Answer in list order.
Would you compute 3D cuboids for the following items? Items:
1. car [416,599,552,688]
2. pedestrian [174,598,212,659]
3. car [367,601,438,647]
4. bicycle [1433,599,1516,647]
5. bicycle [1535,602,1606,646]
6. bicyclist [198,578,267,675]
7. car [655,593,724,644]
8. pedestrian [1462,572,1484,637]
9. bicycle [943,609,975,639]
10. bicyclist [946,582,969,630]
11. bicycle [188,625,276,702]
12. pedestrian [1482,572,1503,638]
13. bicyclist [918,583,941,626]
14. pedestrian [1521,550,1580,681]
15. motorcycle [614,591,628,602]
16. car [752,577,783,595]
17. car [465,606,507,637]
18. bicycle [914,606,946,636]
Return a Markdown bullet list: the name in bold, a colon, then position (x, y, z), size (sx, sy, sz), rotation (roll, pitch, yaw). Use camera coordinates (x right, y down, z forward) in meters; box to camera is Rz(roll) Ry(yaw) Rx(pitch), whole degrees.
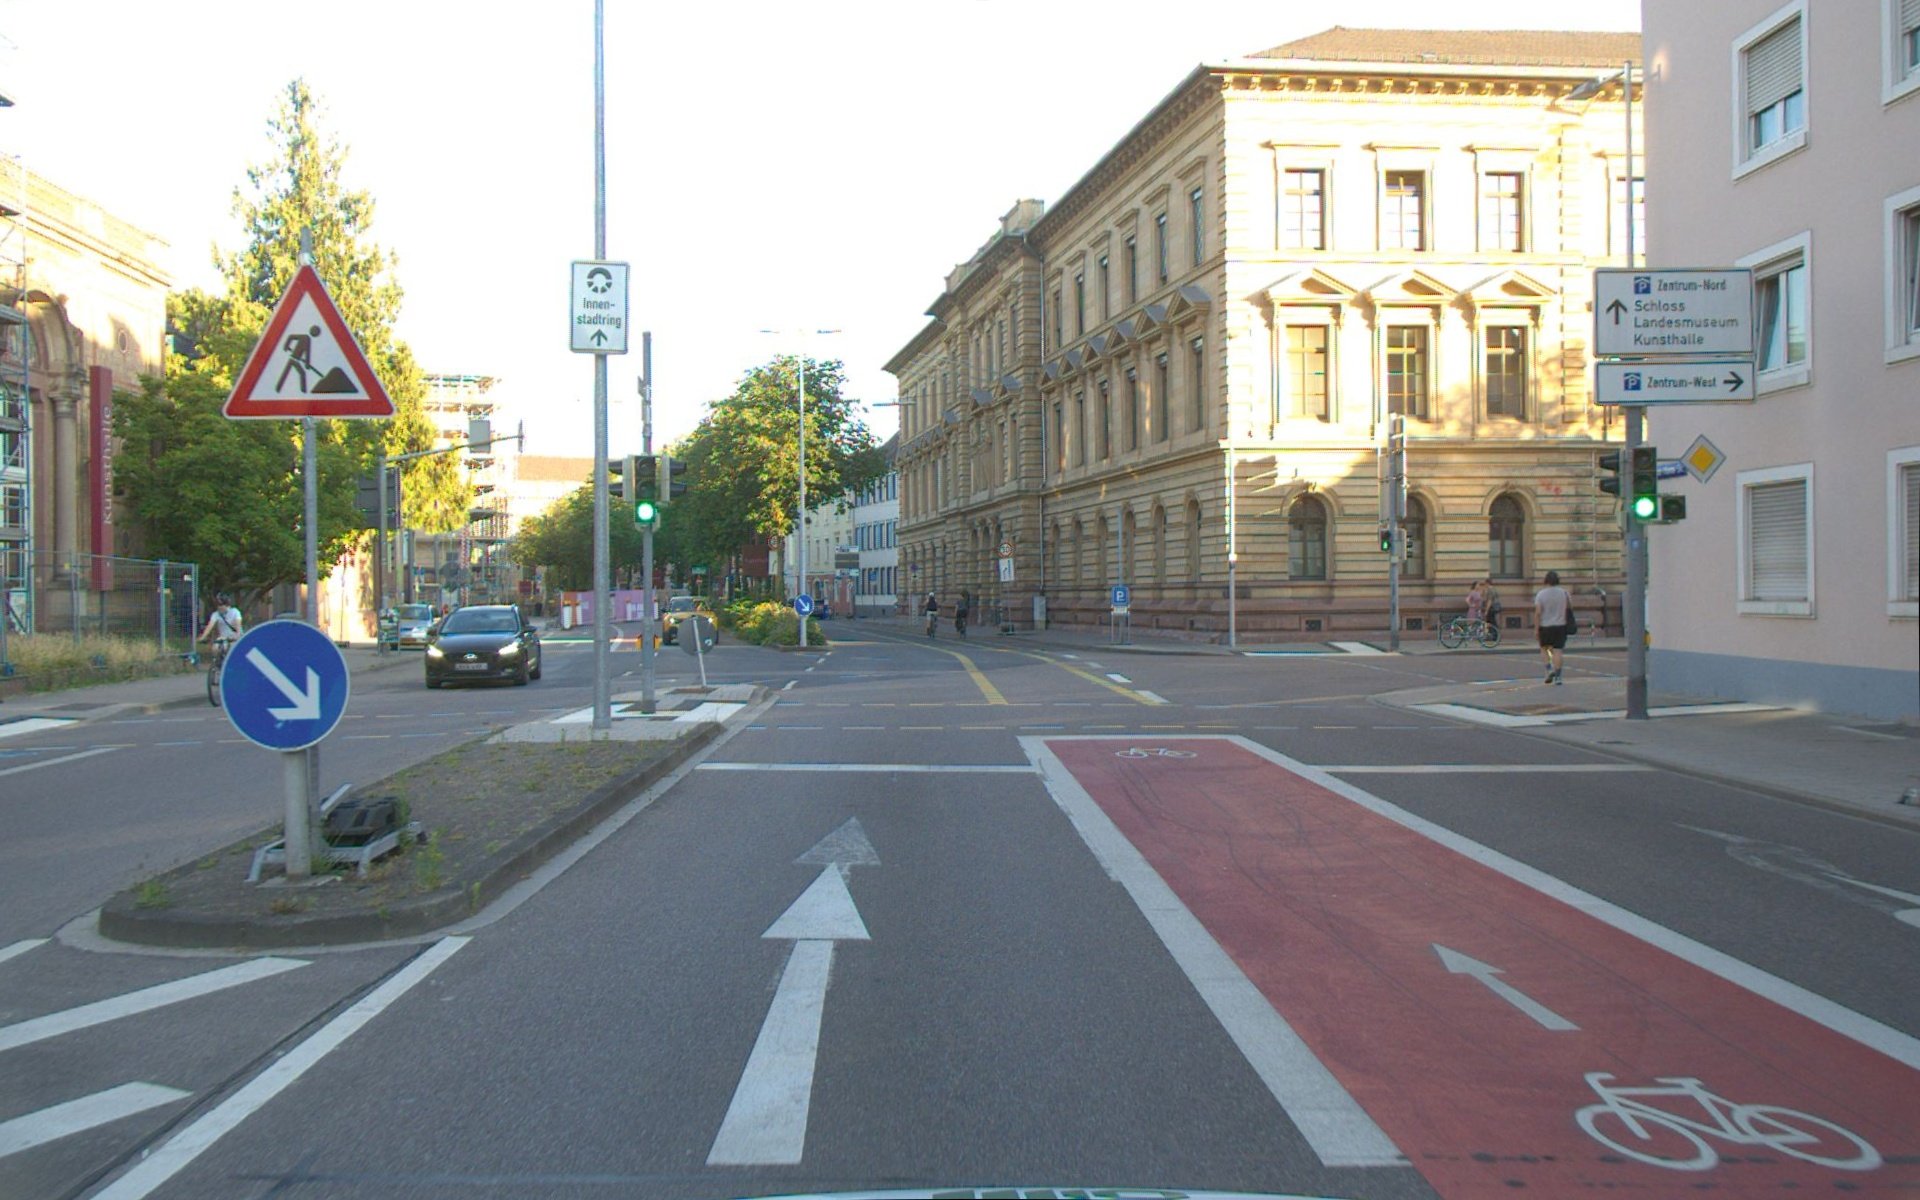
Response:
- **car**: position (-8.925, 0.754, 31.362), size (1.789, 1.534, 4.420), rotation (-1, 0, -7)
- **pedestrian**: position (-20.453, 0.743, 44.108), size (0.722, 1.606, 0.761), rotation (0, 0, -8)
- **car**: position (-19.689, 0.876, 58.560), size (1.712, 1.575, 4.359), rotation (1, -2, -10)
- **bicycle**: position (14.065, 0.624, 45.224), size (2.009, 1.228, 0.861), rotation (-1, 2, -4)
- **bicycle**: position (16.857, 0.657, 45.682), size (1.689, 1.164, 0.696), rotation (-1, 2, -4)
- **bicyclist**: position (-11.585, 0.412, 26.369), size (0.733, 1.486, 0.935), rotation (-2, 0, -8)
- **car**: position (-8.928, 0.586, 54.819), size (1.809, 1.574, 4.116), rotation (-1, 0, -3)
- **pedestrian**: position (14.975, 0.141, 48.279), size (0.446, 1.890, 0.421), rotation (-1, 0, -43)
- **bicycle**: position (-0.065, 0.912, 62.731), size (0.642, 1.089, 2.249), rotation (2, -1, -15)
- **bicyclist**: position (-0.081, 0.218, 62.854), size (0.639, 1.791, 0.861), rotation (2, 0, -15)
- **bicycle**: position (-11.553, 0.989, 26.314), size (0.739, 1.109, 1.929), rotation (-2, 0, -8)
- **pedestrian**: position (15.444, 0.139, 47.965), size (0.523, 1.890, 0.622), rotation (-1, 0, 23)
- **bicyclist**: position (-1.136, 0.177, 62.121), size (0.658, 1.593, 0.695), rotation (2, -1, -18)
- **pedestrian**: position (9.432, 0.248, 26.441), size (0.768, 2.049, 0.995), rotation (0, 0, 13)
- **motorcycle**: position (-39.159, -0.421, 190.919), size (1.029, 1.270, 2.377), rotation (0, 0, -27)
- **car**: position (-17.249, -1.229, 148.117), size (1.787, 1.587, 3.838), rotation (0, 0, -22)
- **car**: position (-22.577, 1.007, 78.896), size (1.651, 1.374, 3.874), rotation (-2, 0, -13)
- **bicycle**: position (-1.135, 0.771, 62.106), size (0.659, 1.089, 1.892), rotation (1, -1, -18)
